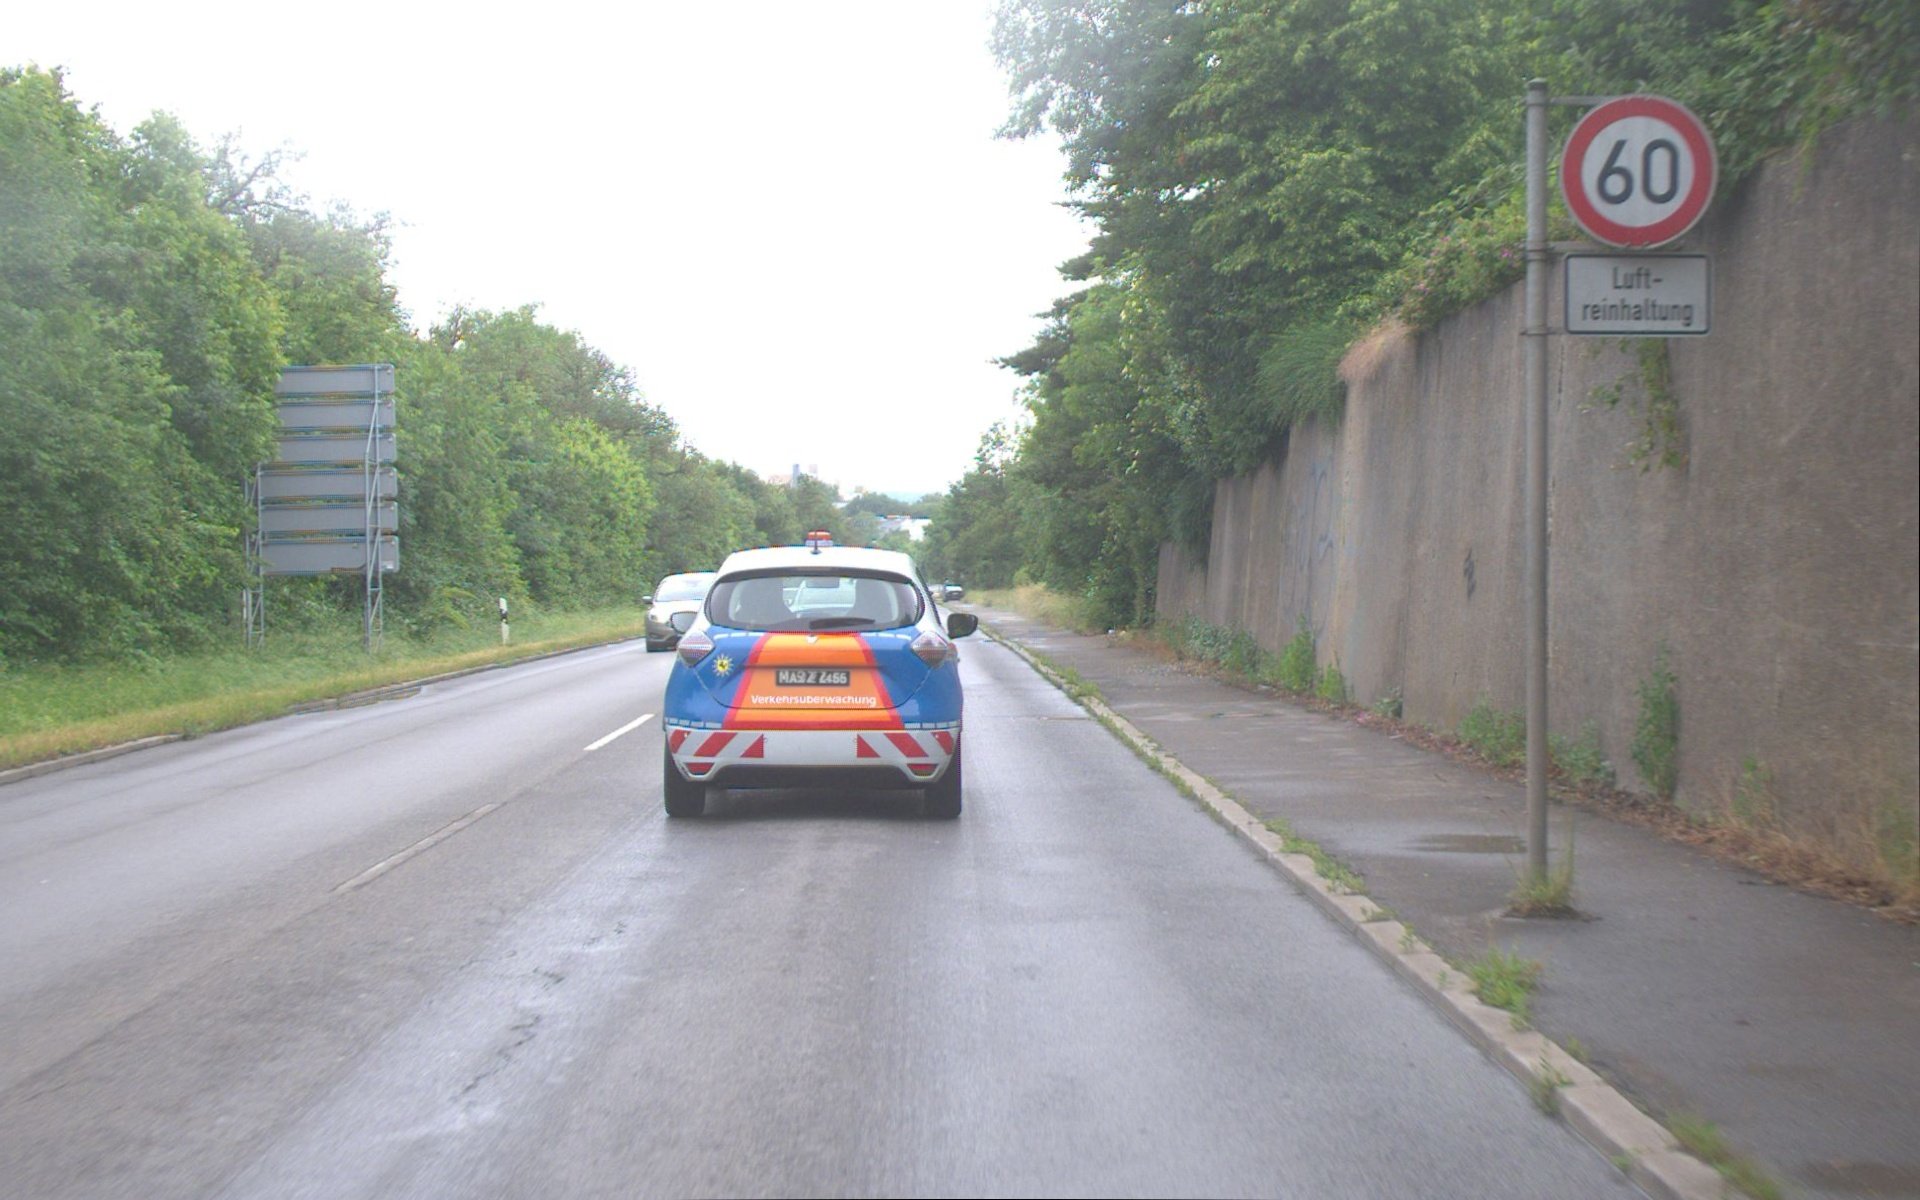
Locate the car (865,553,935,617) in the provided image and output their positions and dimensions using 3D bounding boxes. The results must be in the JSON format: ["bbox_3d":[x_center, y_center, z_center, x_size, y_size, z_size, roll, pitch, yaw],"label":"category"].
[{"bbox_3d":[-1.638,-0.428,93.060,1.772,1.619,4.000,-2,1,-2],"label":"car"}]

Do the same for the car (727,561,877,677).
[{"bbox_3d":[-1.840,0.212,40.842,1.598,1.282,3.476,-1,0,0],"label":"car"}]

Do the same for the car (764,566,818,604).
[{"bbox_3d":[-6.147,-0.555,125.587,1.891,1.350,4.382,0,0,-2],"label":"car"}]

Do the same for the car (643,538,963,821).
[{"bbox_3d":[-0.894,0.405,20.864,1.752,1.550,3.793,1,1,-1],"label":"car"}]

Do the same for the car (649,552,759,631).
[{"bbox_3d":[-4.925,-0.193,66.587,1.825,1.415,4.320,-1,1,-1],"label":"car"}]
